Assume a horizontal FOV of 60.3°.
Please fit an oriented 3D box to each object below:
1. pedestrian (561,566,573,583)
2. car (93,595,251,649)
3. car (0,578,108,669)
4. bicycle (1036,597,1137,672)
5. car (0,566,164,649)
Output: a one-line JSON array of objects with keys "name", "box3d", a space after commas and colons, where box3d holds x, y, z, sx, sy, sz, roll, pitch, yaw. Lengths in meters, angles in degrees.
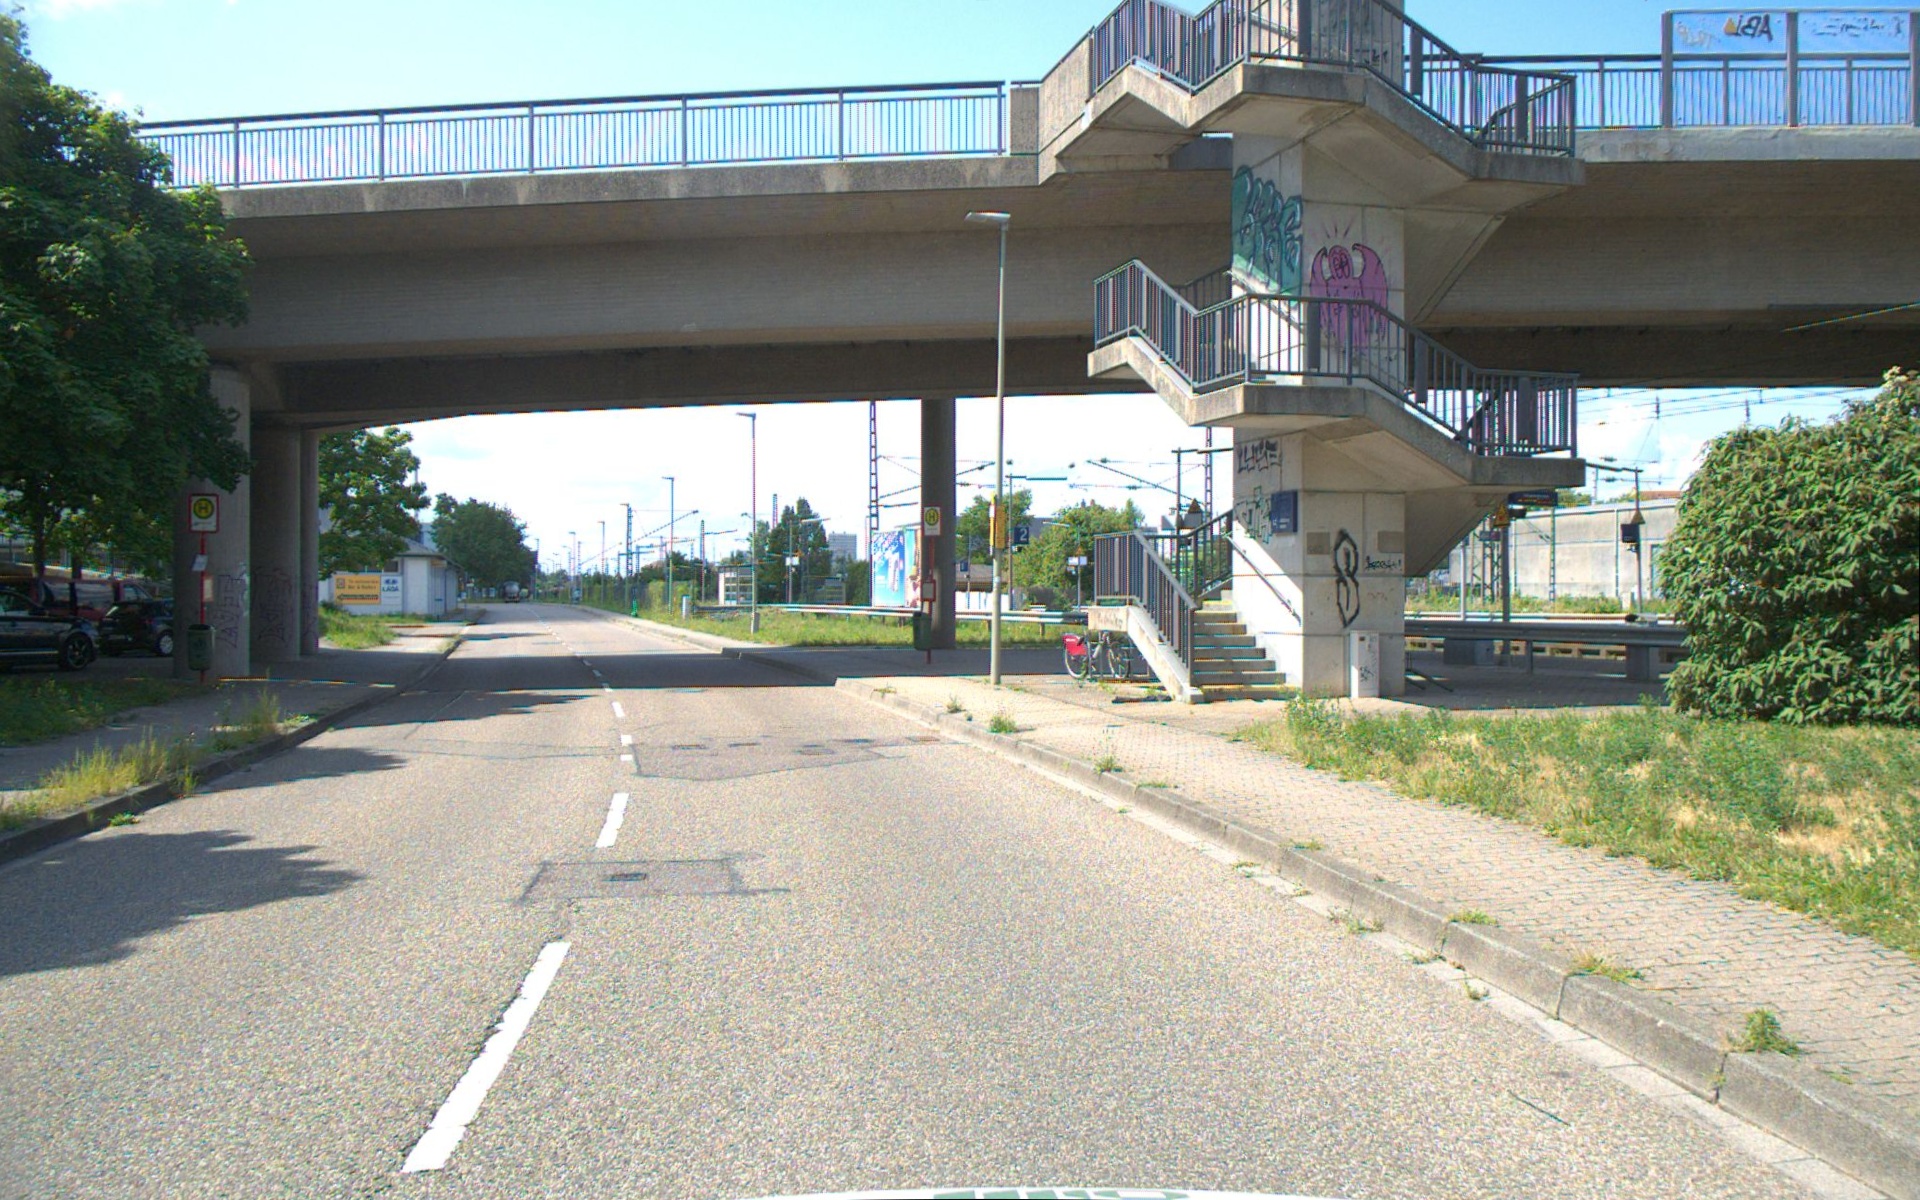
[{"name": "pedestrian", "box3d": [-48.557, -3.179, 204.515, 0.834, 2.049, 1.056, 2, 0, 35]}, {"name": "car", "box3d": [-20.089, 0.544, 42.282, 1.653, 1.307, 3.450, 0, 0, 22]}, {"name": "car", "box3d": [-18.290, 0.438, 30.977, 1.643, 1.658, 4.579, -1, 1, 11]}, {"name": "bicycle", "box3d": [1.962, 0.516, 25.980, 0.634, 1.127, 2.174, 0, 0, -24]}, {"name": "car", "box3d": [-23.040, 0.184, 42.998, 1.901, 2.049, 3.957, 0, 0, 22]}]
